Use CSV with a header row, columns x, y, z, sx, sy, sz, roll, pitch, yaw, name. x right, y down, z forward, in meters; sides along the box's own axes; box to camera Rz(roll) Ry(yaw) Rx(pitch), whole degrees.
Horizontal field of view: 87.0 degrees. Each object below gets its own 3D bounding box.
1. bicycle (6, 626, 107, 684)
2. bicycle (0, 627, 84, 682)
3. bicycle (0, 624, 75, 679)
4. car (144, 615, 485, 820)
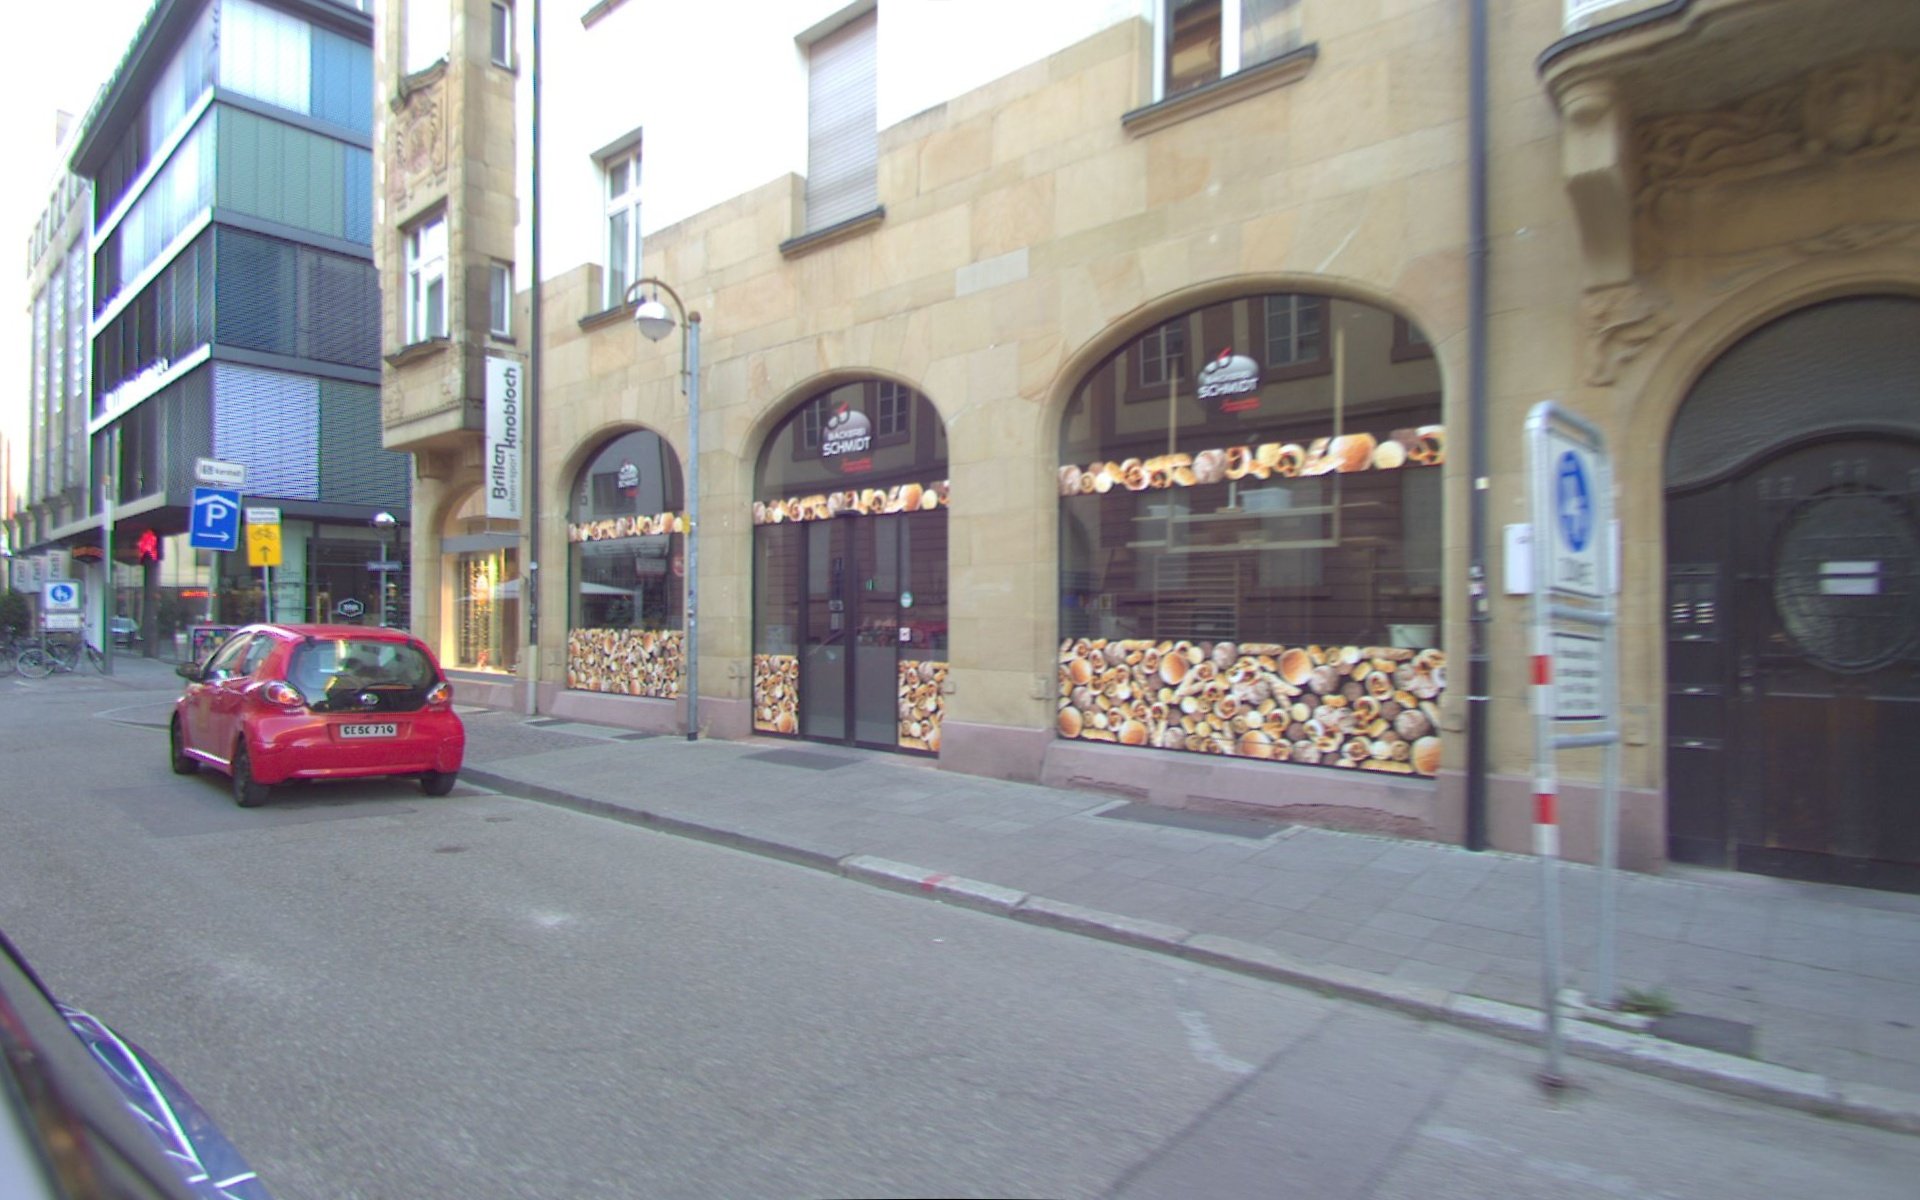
x,y,z,sx,sy,sz,roll,pitch,yaw,name
-20.693,1.244,23.200,0.509,1.213,1.648,-1,0,40,bicycle
-22.077,1.292,24.003,0.517,1.190,1.878,-3,0,39,bicycle
-23.950,1.312,25.880,0.538,1.279,1.878,-1,2,41,bicycle
-6.074,0.911,9.342,3.931,1.481,1.640,-1,-3,42,car
